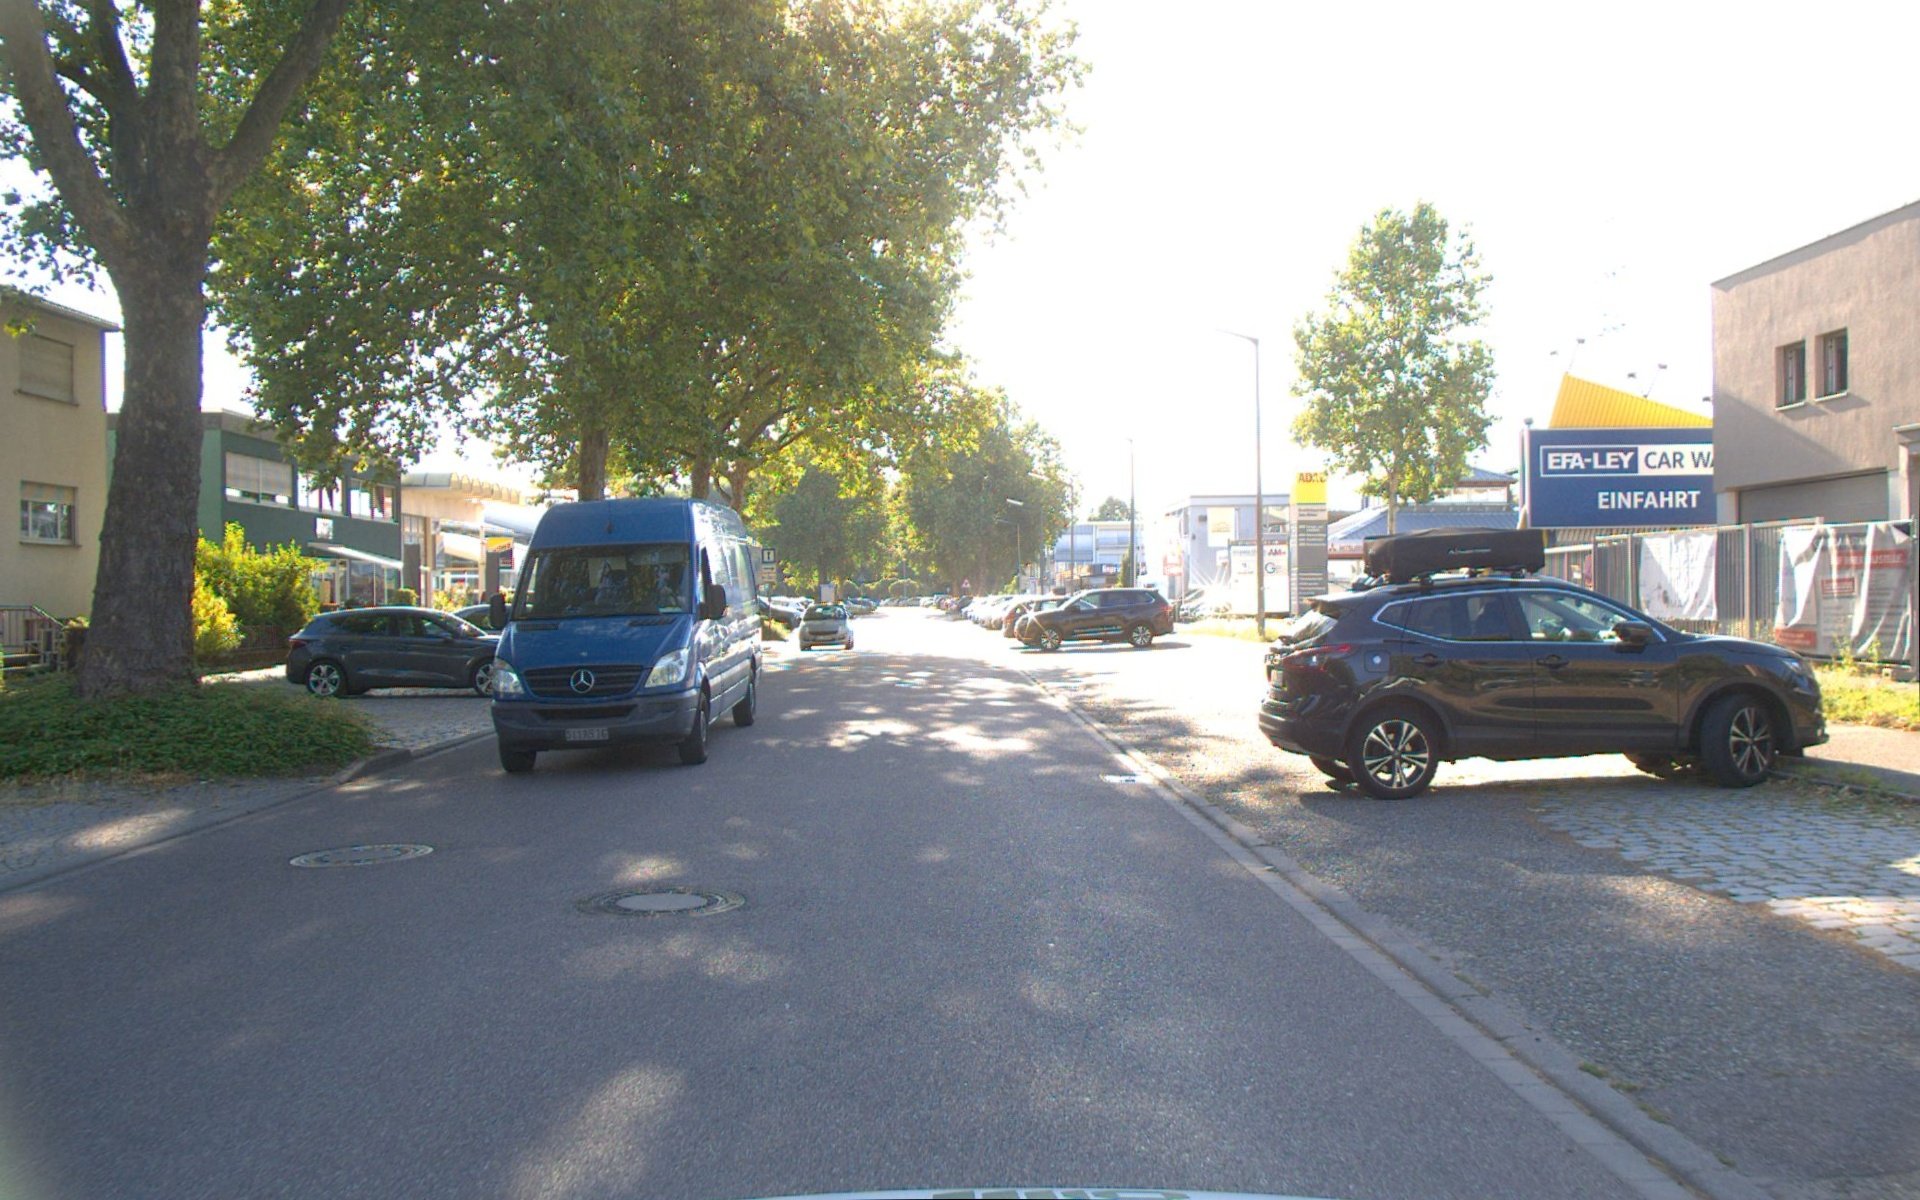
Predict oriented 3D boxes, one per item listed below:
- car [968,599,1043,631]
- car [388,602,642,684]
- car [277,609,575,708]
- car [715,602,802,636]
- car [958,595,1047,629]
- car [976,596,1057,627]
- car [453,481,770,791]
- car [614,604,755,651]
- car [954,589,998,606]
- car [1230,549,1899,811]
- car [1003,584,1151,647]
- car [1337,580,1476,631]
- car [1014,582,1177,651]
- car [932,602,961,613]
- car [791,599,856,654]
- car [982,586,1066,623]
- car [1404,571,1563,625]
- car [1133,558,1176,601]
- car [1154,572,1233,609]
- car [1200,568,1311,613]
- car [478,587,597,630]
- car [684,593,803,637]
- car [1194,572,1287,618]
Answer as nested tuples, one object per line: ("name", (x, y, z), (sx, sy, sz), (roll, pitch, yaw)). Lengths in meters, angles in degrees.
("car", (2.837, 0.945, 103.687), (4.466, 1.625, 2.200), (-4, 0, -4))
("car", (-8.778, 0.836, 32.959), (4.507, 1.447, 1.999), (-1, 1, -2))
("car", (-8.724, 0.934, 27.340), (4.267, 1.447, 1.999), (-1, 1, -4))
("car", (-10.125, 0.942, 83.278), (4.218, 1.685, 2.200), (0, 0, -4))
("car", (1.926, 0.518, 74.372), (3.905, 1.318, 1.784), (-3, 0, 1))
("car", (3.010, 0.620, 88.865), (4.160, 1.633, 1.744), (0, 0, -6))
("car", (-3.515, 0.255, 18.302), (2.084, 2.705, 7.000), (-2, 1, -1))
("car", (-8.811, 0.879, 53.210), (4.209, 1.472, 1.999), (0, 0, -2))
("car", (1.486, -0.249, 151.745), (3.906, 1.440, 1.999), (-2, 0, -2))
("car", (4.662, 0.582, 13.236), (4.534, 1.553, 1.999), (-5, 0, -3))
("car", (3.742, 0.509, 53.516), (4.509, 1.641, 1.999), (-5, 0, -2))
("car", (14.410, 0.181, 53.548), (3.910, 1.623, 1.998), (0, 0, -6))
("car", (3.879, 0.464, 47.915), (4.507, 1.607, 2.000), (-5, 0, 1))
("car", (-1.829, 1.009, 226.751), (3.906, 1.440, 1.826), (-2, 0, -2))
("car", (-4.364, 0.832, 53.343), (1.801, 1.598, 3.801), (-3, 0, -2))
("car", (3.160, 0.226, 82.060), (3.910, 1.615, 1.865), (-3, 0, -5))
("car", (15.014, -0.051, 47.553), (3.910, 1.523, 1.998), (0, 0, -6))
("car", (12.467, -1.271, 106.315), (1.953, 2.671, 6.135), (0, 0, -1))
("car", (13.136, -0.525, 93.264), (4.060, 1.802, 1.999), (-3, 0, -1))
("car", (12.891, -0.406, 72.370), (4.405, 1.932, 2.201), (0, 0, -2))
("car", (-18.178, 0.360, 71.298), (4.651, 1.851, 1.999), (0, 0, -3))
("car", (-9.764, 0.671, 75.002), (5.153, 1.932, 2.201), (0, 0, -2))
("car", (12.969, -0.252, 76.619), (3.854, 1.931, 2.202), (-1, 3, -2))
